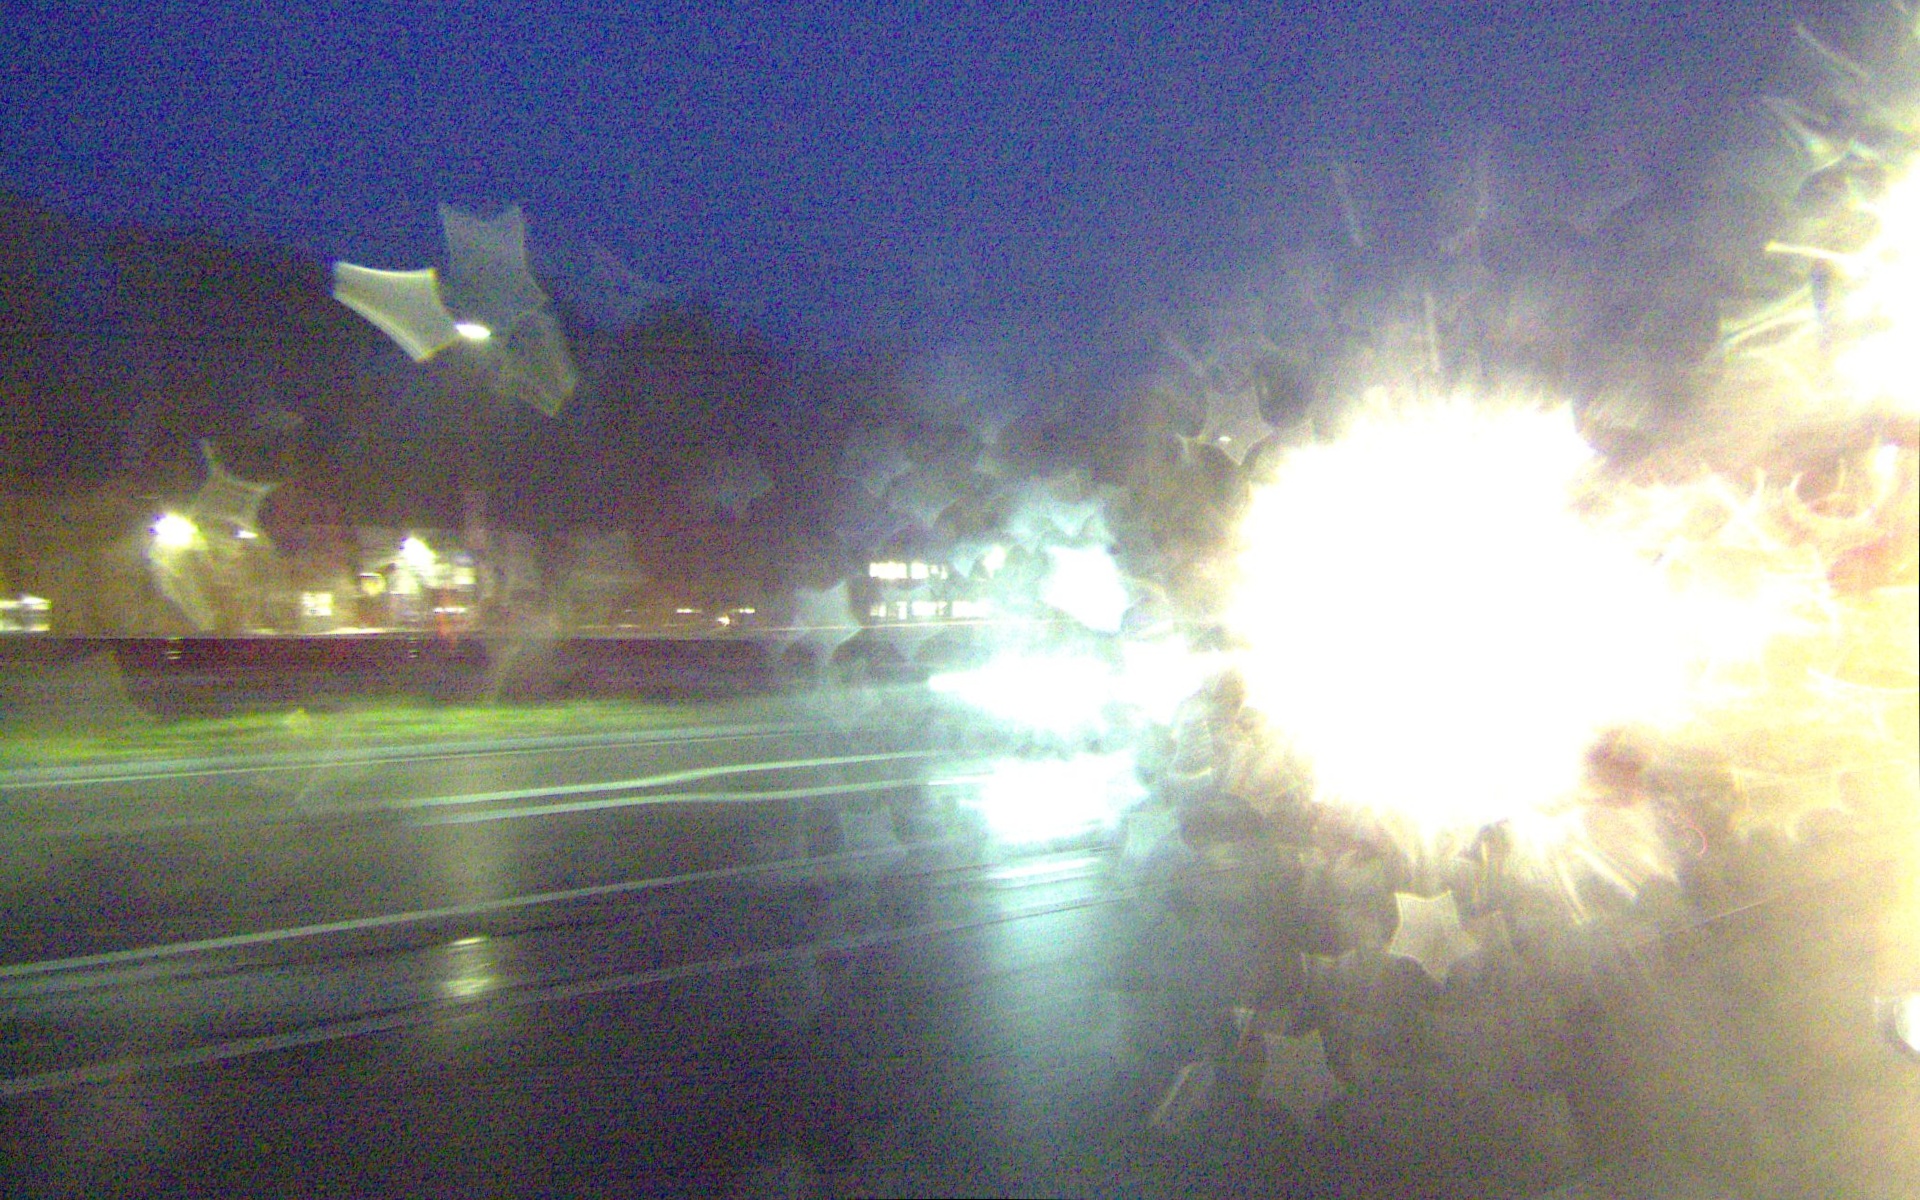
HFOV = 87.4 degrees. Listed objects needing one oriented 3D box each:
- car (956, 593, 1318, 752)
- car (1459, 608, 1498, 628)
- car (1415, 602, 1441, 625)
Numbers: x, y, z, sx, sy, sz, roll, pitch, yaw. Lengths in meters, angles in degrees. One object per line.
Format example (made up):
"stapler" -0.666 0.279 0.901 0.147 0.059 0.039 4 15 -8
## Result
"car" 2.340 0.797 12.703 4.605 1.663 1.750 1 1 -35
"car" 41.934 1.419 81.181 1.703 1.539 3.976 1 0 44
"car" 33.530 0.985 71.912 1.488 1.538 4.369 2 1 27
